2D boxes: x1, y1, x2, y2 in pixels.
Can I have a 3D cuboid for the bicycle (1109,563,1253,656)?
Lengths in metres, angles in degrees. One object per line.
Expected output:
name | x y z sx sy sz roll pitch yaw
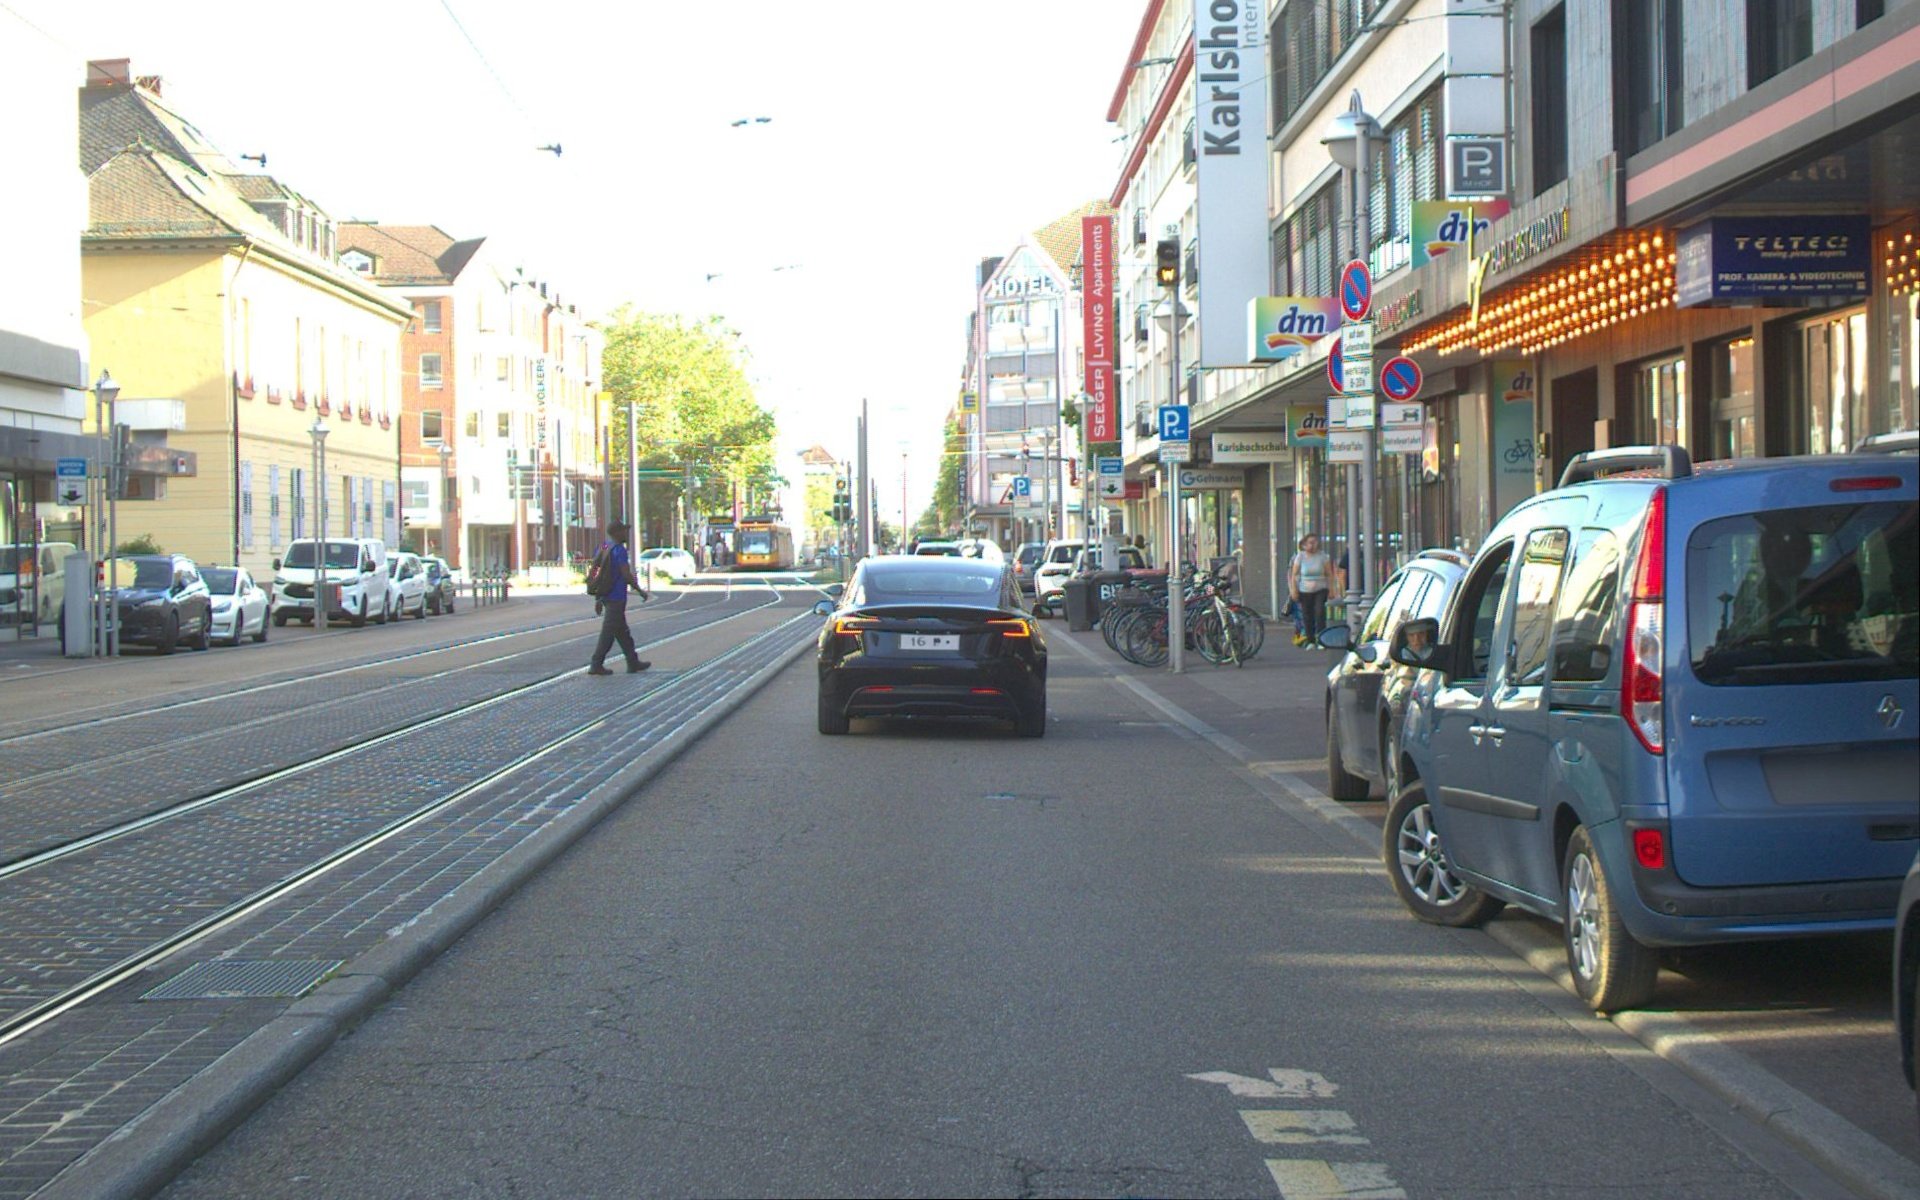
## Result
bicycle | 2.841 0.118 44.193 1.773 1.127 0.479 -2 1 -6

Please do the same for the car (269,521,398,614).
car | -13.973 -0.731 76.969 1.993 1.968 5.097 1 1 -1

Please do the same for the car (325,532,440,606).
car | -13.957 -0.758 83.268 1.808 1.680 4.648 1 1 2

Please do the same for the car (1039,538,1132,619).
car | 2.497 -0.443 68.945 1.614 1.523 4.070 -1 1 -1

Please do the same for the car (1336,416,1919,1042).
car | 2.704 0.349 12.600 1.815 1.853 4.551 -1 1 -4

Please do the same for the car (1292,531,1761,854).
car | 2.939 0.416 18.736 1.721 1.479 4.416 -3 1 -1

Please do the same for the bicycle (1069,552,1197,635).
bicycle | 2.509 -0.100 49.871 1.787 1.155 0.669 -1 1 -1

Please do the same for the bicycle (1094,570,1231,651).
bicycle | 2.724 0.136 46.379 1.773 1.028 0.597 -1 1 -1

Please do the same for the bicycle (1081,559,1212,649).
bicycle | 2.645 0.049 48.807 1.787 1.213 0.669 -1 1 -1

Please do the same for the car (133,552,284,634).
car | -13.901 -0.151 63.809 1.888 1.416 4.657 1 1 -2

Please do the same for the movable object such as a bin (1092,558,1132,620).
movable object such as a bin | 2.730 -0.200 61.793 0.690 1.085 0.685 -2 1 3

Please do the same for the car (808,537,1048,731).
car | -0.297 0.243 28.589 1.849 1.479 3.787 1 1 -1

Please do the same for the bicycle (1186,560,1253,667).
bicycle | 3.174 0.155 42.115 0.581 1.253 1.602 -3 1 -2

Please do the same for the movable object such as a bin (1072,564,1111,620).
movable object such as a bin | 2.382 -0.146 62.454 0.686 1.010 0.508 -1 1 2

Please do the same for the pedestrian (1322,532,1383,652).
pedestrian | 4.972 -0.099 43.572 0.581 1.488 0.525 -3 1 -9

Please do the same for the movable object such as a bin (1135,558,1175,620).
movable object such as a bin | 3.495 -0.192 61.648 0.690 1.085 0.666 -2 1 3

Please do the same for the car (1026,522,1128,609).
car | 2.475 -0.751 73.797 1.849 1.718 5.193 -2 1 -1

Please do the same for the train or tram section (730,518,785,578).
train or tram section | -13.007 -3.356 221.894 2.674 3.703 14.193 1 1 0

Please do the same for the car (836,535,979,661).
car | -0.604 -0.063 42.369 1.653 1.413 4.000 1 2 0

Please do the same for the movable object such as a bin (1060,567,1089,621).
movable object such as a bin | 2.064 -0.116 61.764 0.487 0.955 0.457 -2 1 3

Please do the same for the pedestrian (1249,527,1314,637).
pedestrian | 4.412 -0.245 47.151 0.581 1.481 0.597 -3 1 -31

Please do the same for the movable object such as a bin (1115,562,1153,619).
movable object such as a bin | 3.162 -0.176 62.413 0.658 1.010 0.636 -1 1 2

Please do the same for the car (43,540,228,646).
car | -13.829 -0.144 57.935 1.978 1.673 4.655 1 1 0

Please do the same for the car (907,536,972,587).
car | -0.668 -1.212 107.346 1.783 1.514 4.219 1 1 -3

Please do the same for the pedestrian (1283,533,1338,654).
pedestrian | 4.657 -0.090 45.739 0.581 1.580 0.598 -3 1 -2

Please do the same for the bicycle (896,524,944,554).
bicycle | -1.514 -2.300 130.332 1.727 1.084 0.678 1 1 -8

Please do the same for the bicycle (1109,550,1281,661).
bicycle | 2.968 0.059 43.400 2.035 1.270 0.525 -4 1 -10

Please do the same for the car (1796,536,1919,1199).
car | 3.028 0.628 6.355 1.763 1.572 4.288 -2 1 -1

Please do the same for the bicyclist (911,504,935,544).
bicyclist | -1.398 -2.874 130.317 0.836 1.494 0.560 1 1 -8

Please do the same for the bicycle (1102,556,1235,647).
bicycle | 2.896 0.018 47.811 1.787 1.213 0.587 -1 1 -1

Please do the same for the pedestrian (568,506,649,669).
pedestrian | -4.058 -0.151 39.717 0.804 1.831 0.746 -2 1 -2

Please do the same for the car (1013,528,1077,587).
car | 2.496 -1.271 101.616 1.745 1.626 3.649 -2 1 0
